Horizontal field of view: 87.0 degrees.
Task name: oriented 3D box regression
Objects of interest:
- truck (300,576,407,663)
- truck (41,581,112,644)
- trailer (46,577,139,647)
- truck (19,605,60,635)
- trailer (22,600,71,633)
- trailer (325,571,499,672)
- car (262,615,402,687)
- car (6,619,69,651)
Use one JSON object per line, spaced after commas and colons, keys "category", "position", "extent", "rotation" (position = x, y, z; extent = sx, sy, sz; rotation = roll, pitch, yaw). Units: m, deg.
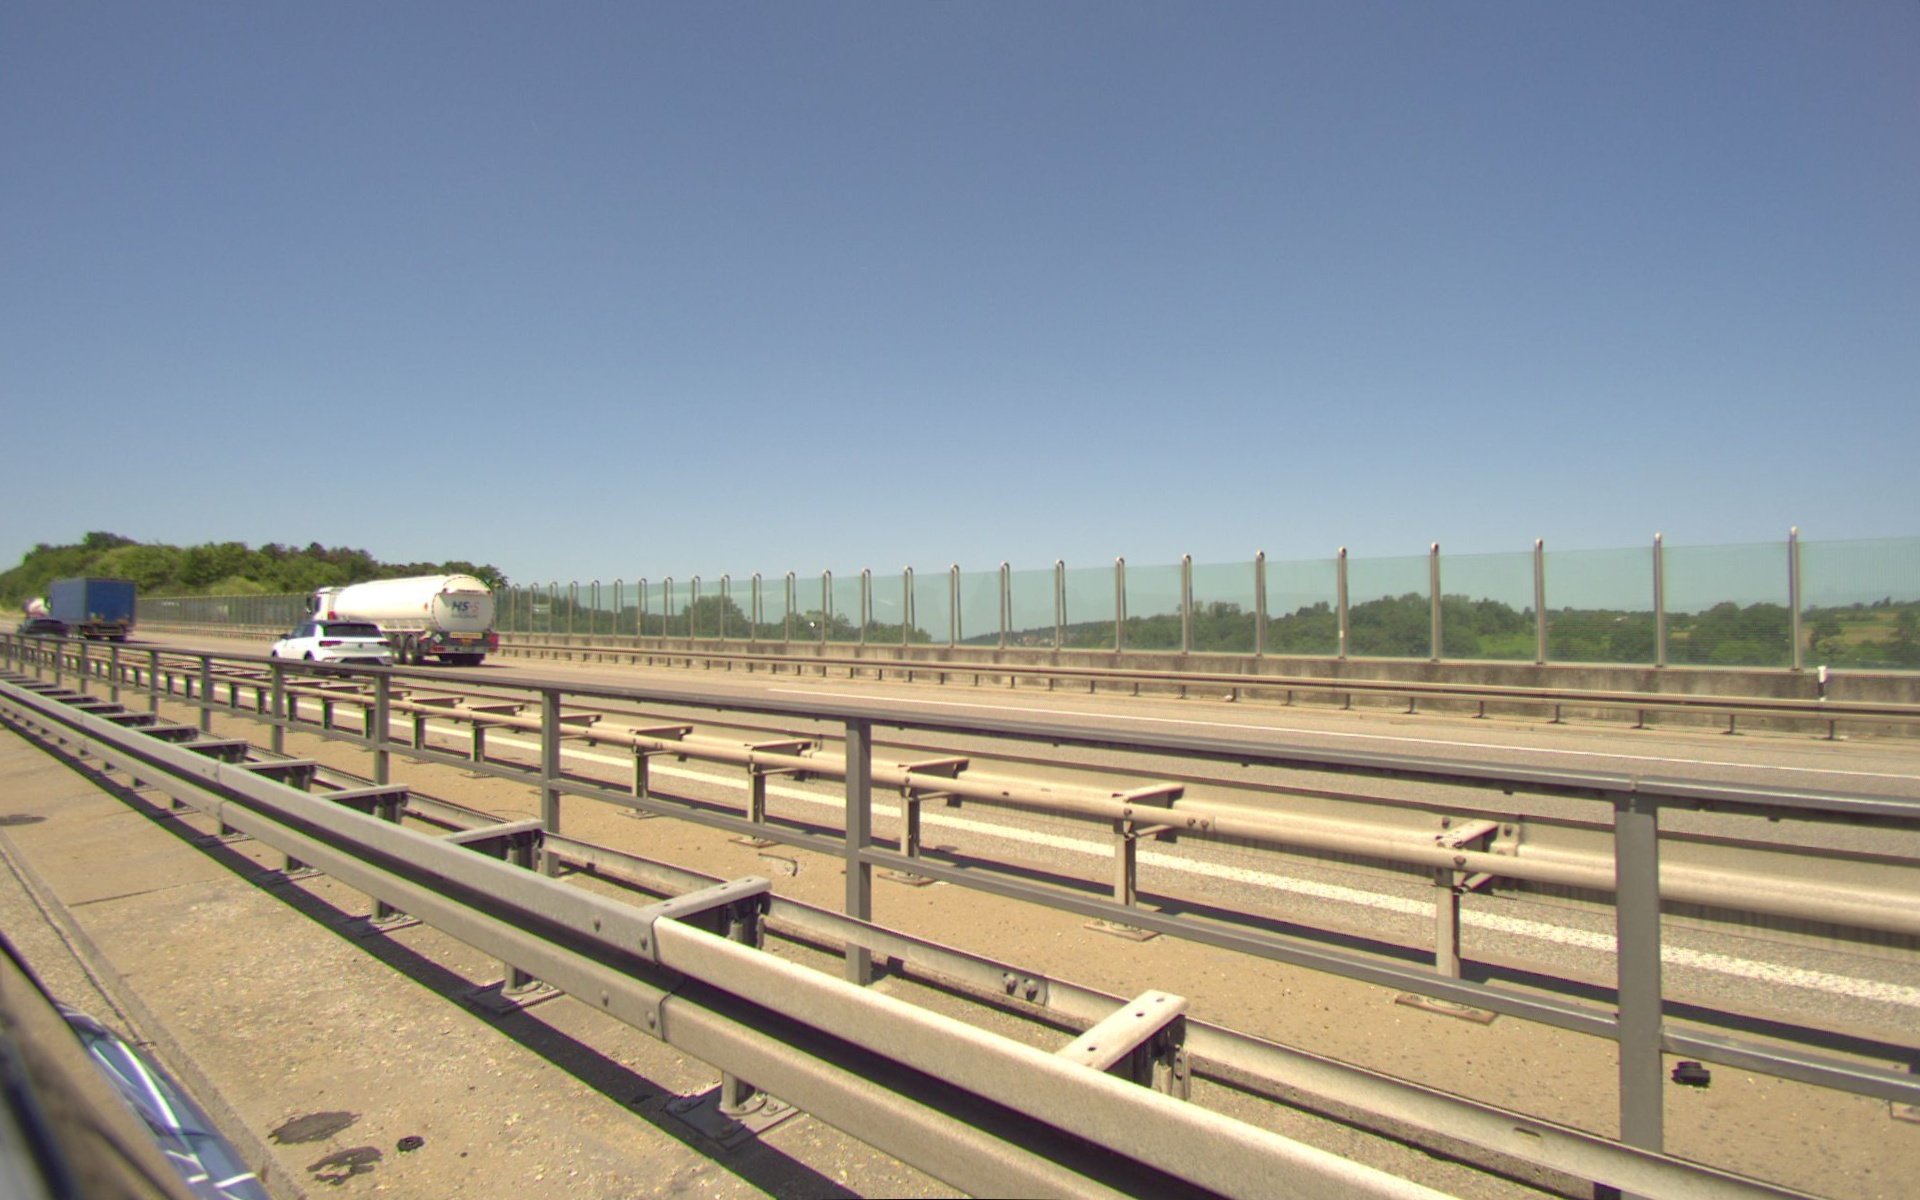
{"category": "truck", "position": [-26.680, 0.864, 44.476], "extent": [5.329, 3.562, 2.493], "rotation": [-1, -3, 42]}
{"category": "truck", "position": [-60.237, 0.869, 68.963], "extent": [6.262, 4.148, 2.724], "rotation": [-1, -2, 41]}
{"category": "trailer", "position": [-56.360, 0.788, 65.588], "extent": [12.043, 4.197, 2.676], "rotation": [0, -2, 41]}
{"category": "truck", "position": [-107.362, 2.319, 118.005], "extent": [6.294, 3.441, 2.877], "rotation": [0, -3, 43]}
{"category": "trailer", "position": [-102.816, 1.857, 113.812], "extent": [12.006, 3.405, 2.845], "rotation": [0, -3, 43]}
{"category": "trailer", "position": [-22.078, 0.820, 40.361], "extent": [10.900, 3.567, 2.472], "rotation": [0, -2, 42]}
{"category": "car", "position": [-15.780, 1.238, 25.359], "extent": [3.997, 1.652, 1.788], "rotation": [0, -3, 40]}
{"category": "car", "position": [-47.621, 1.770, 52.210], "extent": [4.186, 1.564, 1.863], "rotation": [0, 0, 40]}
